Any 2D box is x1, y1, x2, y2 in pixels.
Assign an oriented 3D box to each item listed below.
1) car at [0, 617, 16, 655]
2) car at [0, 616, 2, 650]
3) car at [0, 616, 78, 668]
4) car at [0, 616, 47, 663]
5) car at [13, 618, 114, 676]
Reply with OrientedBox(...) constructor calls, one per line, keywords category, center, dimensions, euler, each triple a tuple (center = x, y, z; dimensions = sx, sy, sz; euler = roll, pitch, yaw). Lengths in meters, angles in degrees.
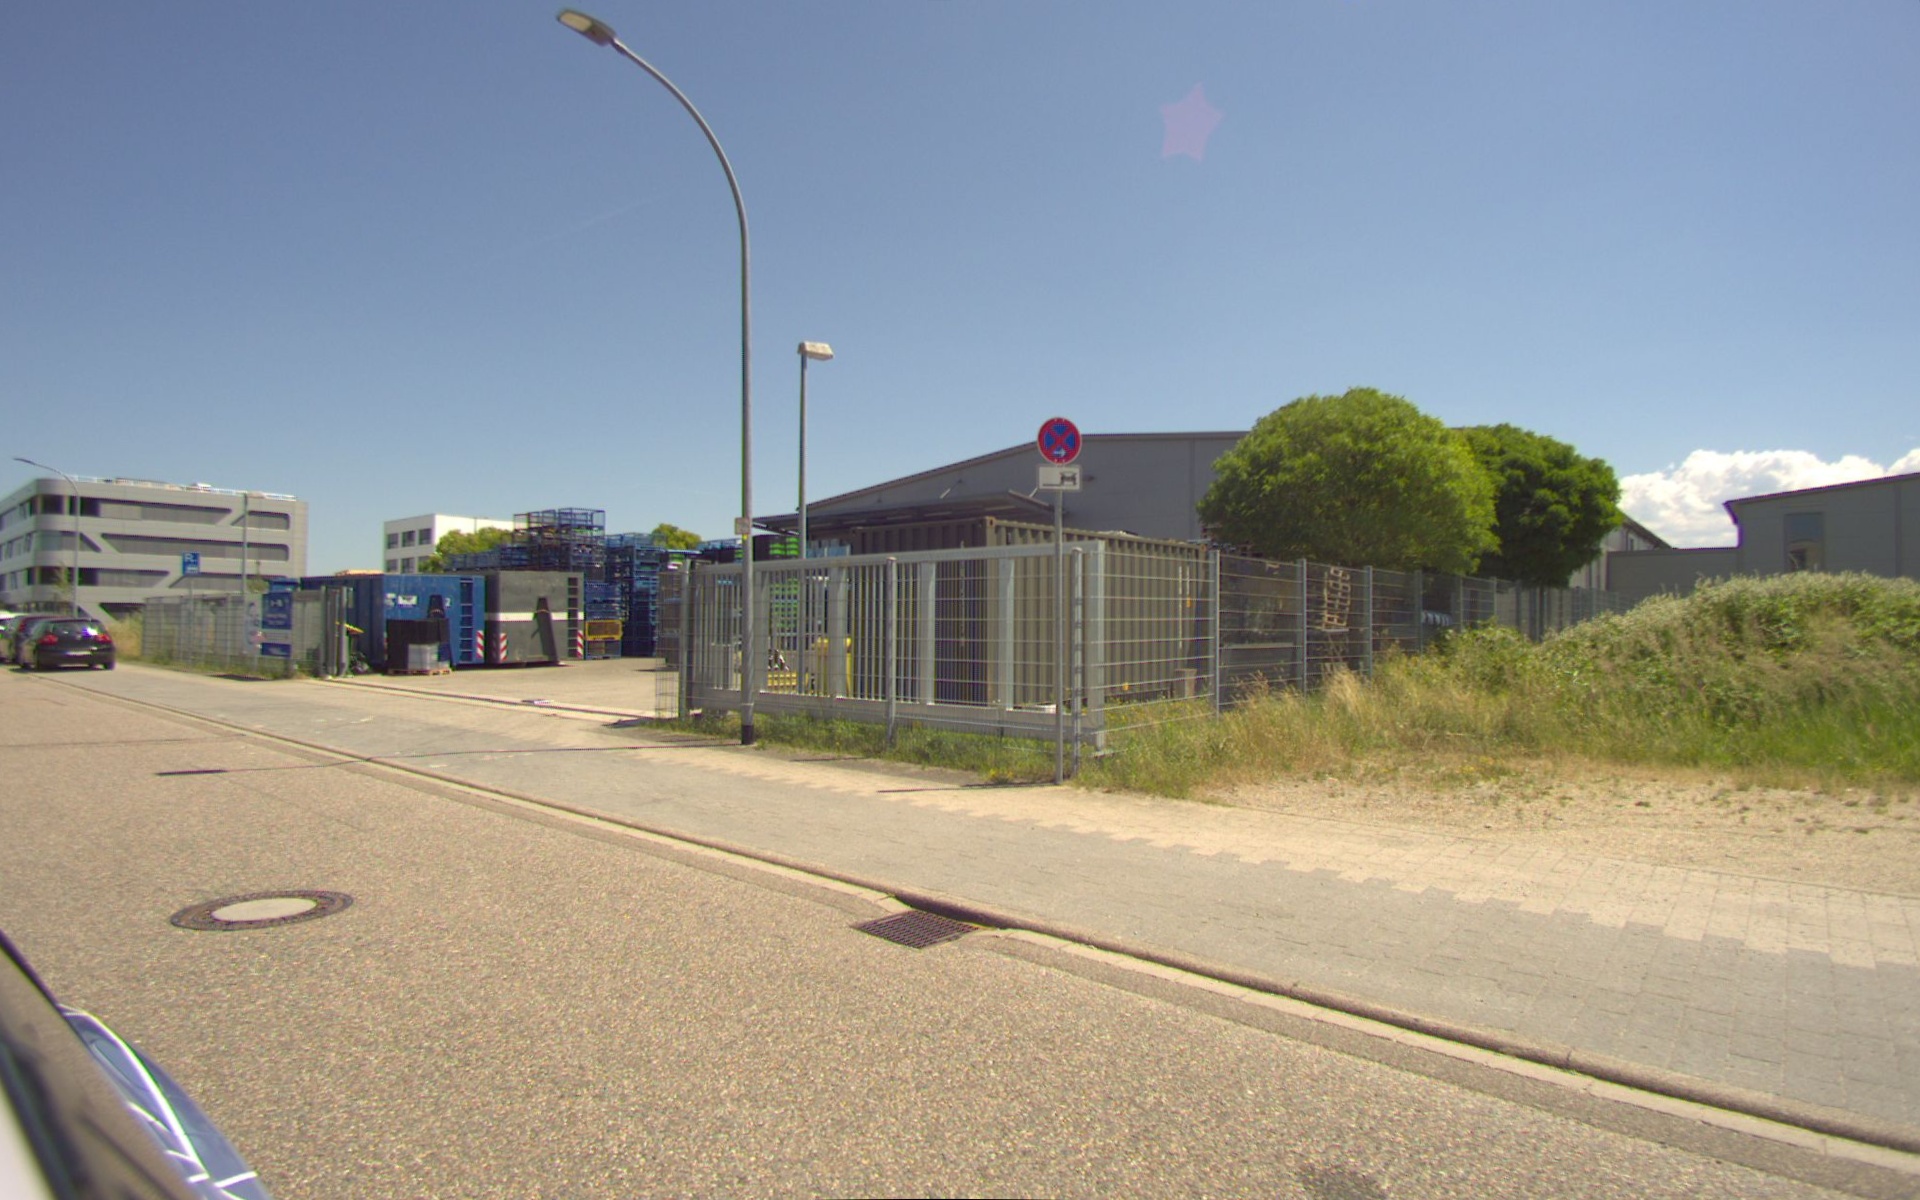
OrientedBox(category="car", center=(-40.322, 1.485, 41.653), dimensions=(3.776, 1.481, 1.750), euler=(-1, 1, 41))
OrientedBox(category="car", center=(-44.982, 1.518, 45.999), dimensions=(3.776, 1.541, 1.749), euler=(-1, 0, 41))
OrientedBox(category="car", center=(-29.834, 1.306, 32.540), dimensions=(3.776, 1.541, 1.749), euler=(-1, 0, 41))
OrientedBox(category="car", center=(-33.766, 1.373, 35.814), dimensions=(3.776, 1.541, 1.749), euler=(-1, 0, 41))
OrientedBox(category="car", center=(-25.392, 1.268, 28.631), dimensions=(3.659, 1.501, 1.673), euler=(-1, 0, 41))
